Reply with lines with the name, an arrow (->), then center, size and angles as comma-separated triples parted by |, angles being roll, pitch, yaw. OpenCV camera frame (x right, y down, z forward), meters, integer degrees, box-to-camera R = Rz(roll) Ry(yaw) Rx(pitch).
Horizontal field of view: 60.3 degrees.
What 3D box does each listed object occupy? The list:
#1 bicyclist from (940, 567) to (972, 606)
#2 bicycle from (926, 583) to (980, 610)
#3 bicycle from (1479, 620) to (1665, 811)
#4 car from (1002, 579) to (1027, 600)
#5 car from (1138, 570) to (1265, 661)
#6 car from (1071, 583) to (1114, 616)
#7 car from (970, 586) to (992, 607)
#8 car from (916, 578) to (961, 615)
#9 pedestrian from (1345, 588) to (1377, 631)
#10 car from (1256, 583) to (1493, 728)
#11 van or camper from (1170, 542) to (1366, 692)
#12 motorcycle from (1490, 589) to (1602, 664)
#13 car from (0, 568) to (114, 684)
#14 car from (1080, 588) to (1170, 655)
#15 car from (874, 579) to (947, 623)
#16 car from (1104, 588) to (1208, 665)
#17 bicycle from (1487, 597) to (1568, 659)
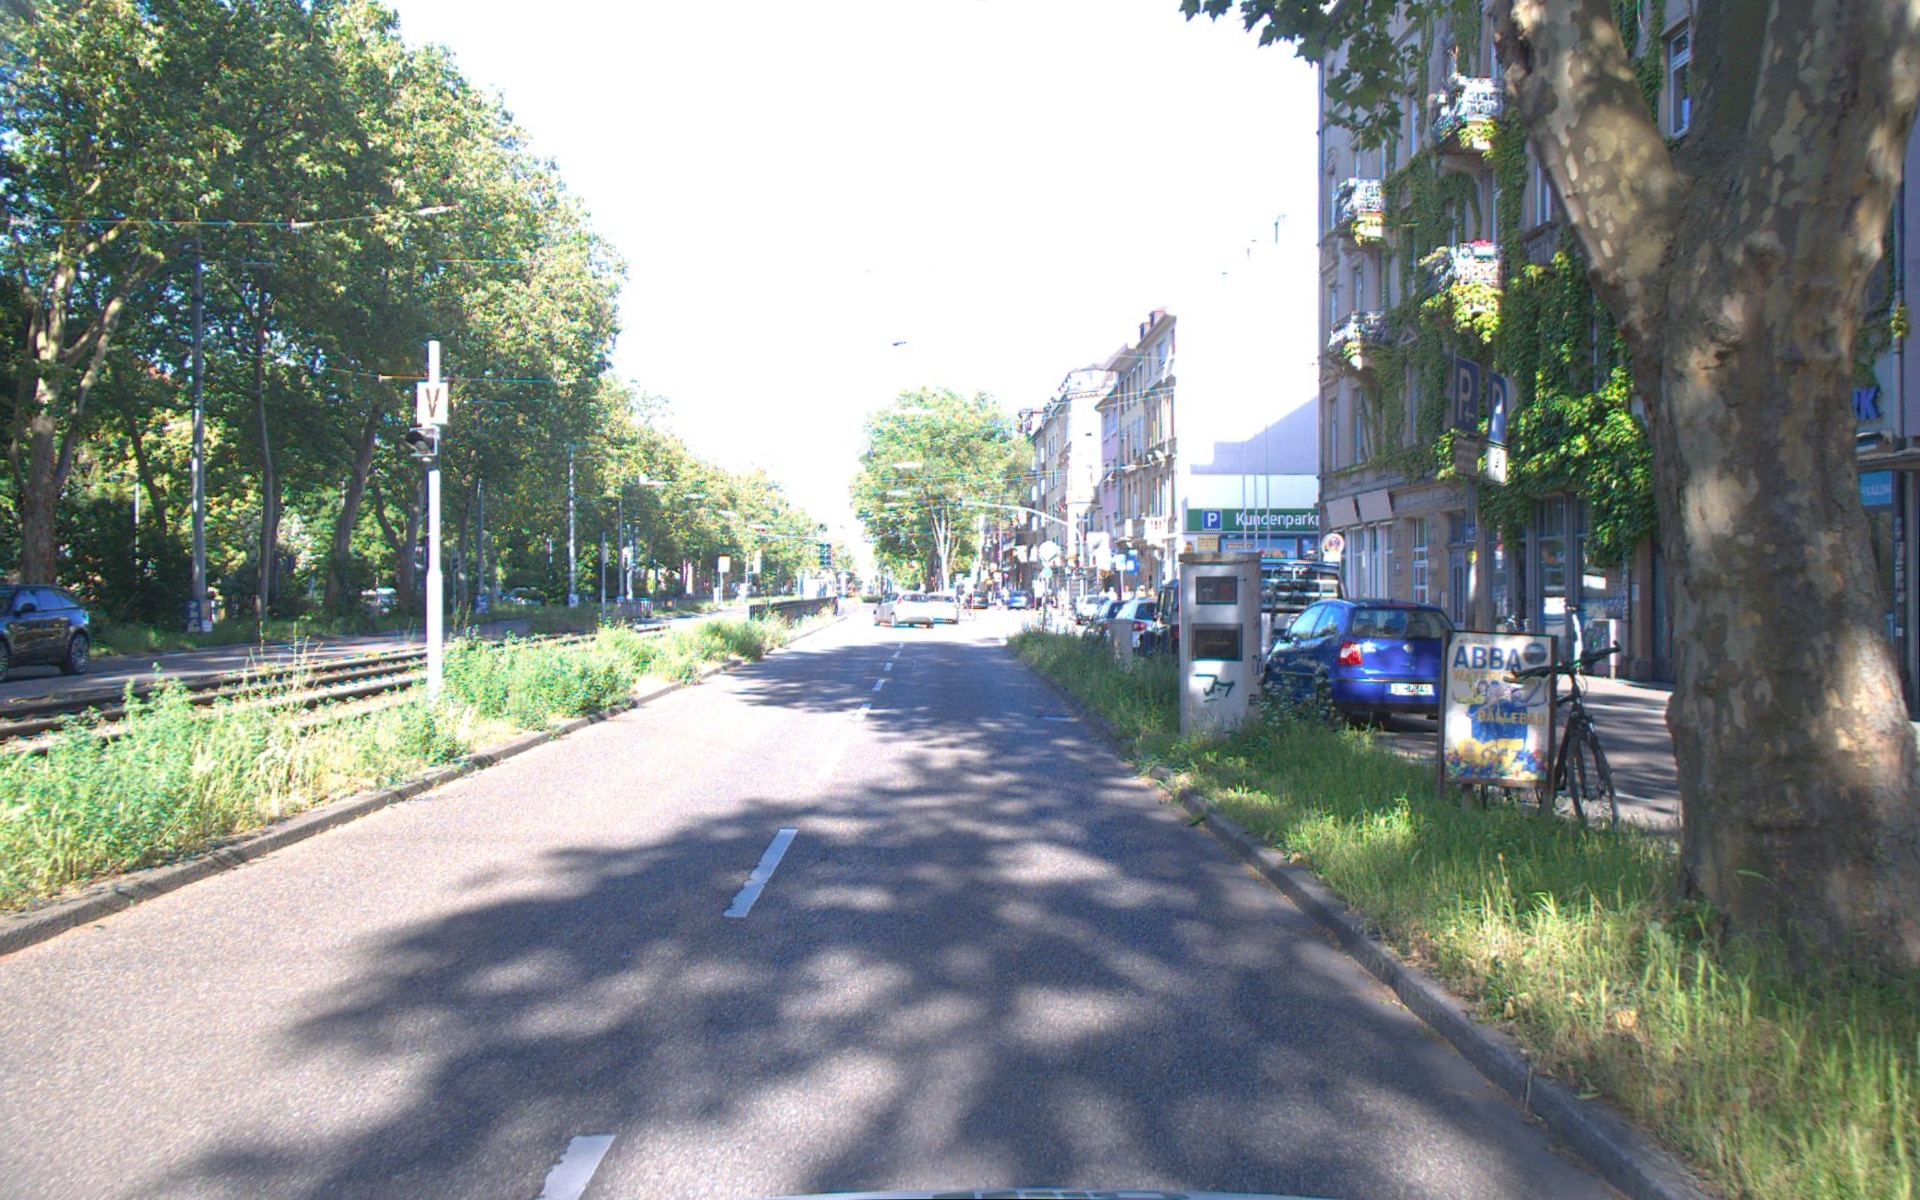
bicyclist -> -0.215, -0.664, 82.529 | 1.297, 1.915, 0.980 | 0, 1, 24
bicycle -> -0.347, -0.175, 82.597 | 2.472, 1.337, 0.989 | 0, 1, 25
bicycle -> 3.591, 0.644, 9.815 | 0.576, 1.008, 1.450 | 0, 1, 0
car -> 4.139, -0.814, 126.859 | 1.649, 1.535, 3.666 | 1, 0, -2
car -> 4.345, 0.236, 30.200 | 1.649, 1.535, 3.666 | 0, 1, -2
car -> 6.375, -0.041, 79.796 | 1.649, 1.535, 3.666 | 1, 0, -2
car -> 1.593, -0.273, 128.187 | 1.648, 1.535, 3.667 | 1, 0, 0
car -> -1.021, -0.193, 77.135 | 1.981, 1.691, 3.998 | 0, 1, -3
pedestrian -> 10.814, 0.251, 44.616 | 0.693, 1.171, 0.740 | 0, 0, -1
car -> 4.781, 0.584, 19.573 | 1.650, 1.540, 3.664 | 1, 0, -4
van or camper -> 4.482, 0.209, 24.863 | 1.802, 1.997, 5.125 | 1, 0, -2
motorcycle -> 10.900, 0.485, 30.813 | 1.863, 1.290, 0.555 | 3, 0, 45
car -> -16.844, 0.445, 28.559 | 1.953, 1.903, 4.872 | -2, 1, -1
car -> 3.915, 0.482, 39.788 | 1.649, 1.535, 3.666 | 1, 0, -2
car -> -2.006, 0.009, 66.049 | 1.989, 1.691, 3.982 | 0, 1, -17
car -> 4.122, 0.523, 35.320 | 1.649, 1.535, 3.666 | 1, 0, -2
bicycle -> 11.171, 0.536, 32.646 | 0.868, 1.154, 2.400 | 0, 1, 3
